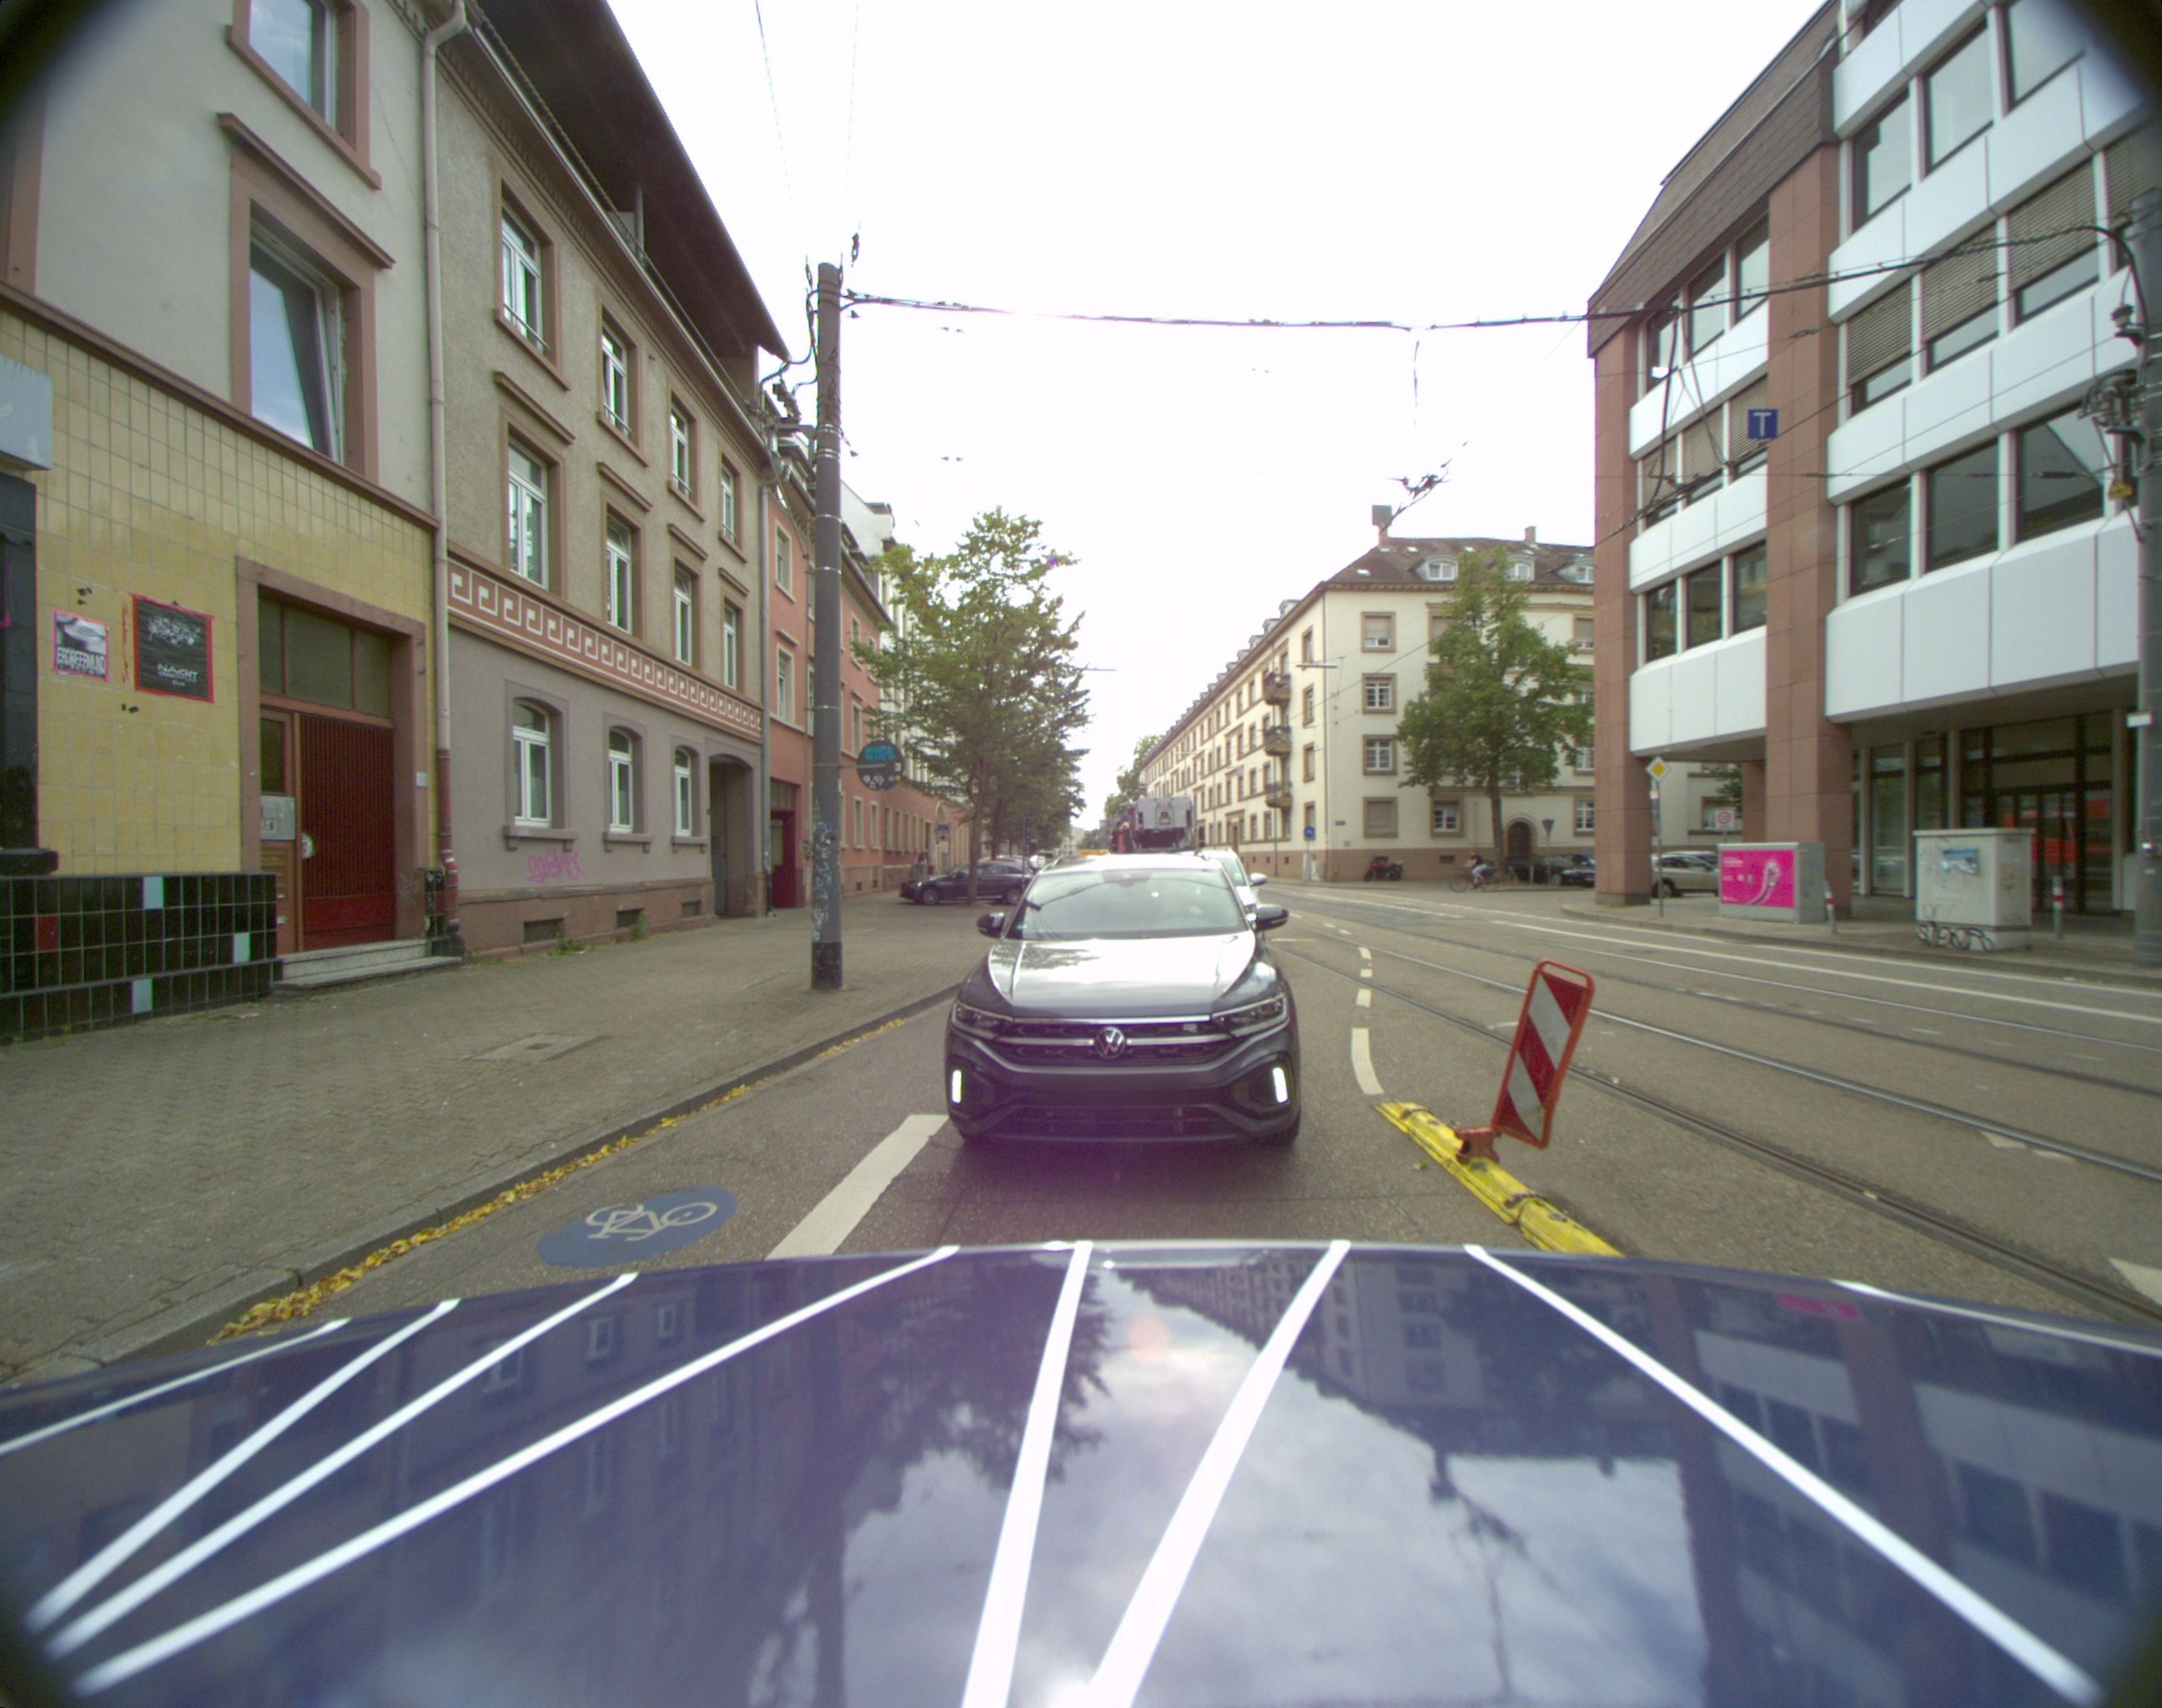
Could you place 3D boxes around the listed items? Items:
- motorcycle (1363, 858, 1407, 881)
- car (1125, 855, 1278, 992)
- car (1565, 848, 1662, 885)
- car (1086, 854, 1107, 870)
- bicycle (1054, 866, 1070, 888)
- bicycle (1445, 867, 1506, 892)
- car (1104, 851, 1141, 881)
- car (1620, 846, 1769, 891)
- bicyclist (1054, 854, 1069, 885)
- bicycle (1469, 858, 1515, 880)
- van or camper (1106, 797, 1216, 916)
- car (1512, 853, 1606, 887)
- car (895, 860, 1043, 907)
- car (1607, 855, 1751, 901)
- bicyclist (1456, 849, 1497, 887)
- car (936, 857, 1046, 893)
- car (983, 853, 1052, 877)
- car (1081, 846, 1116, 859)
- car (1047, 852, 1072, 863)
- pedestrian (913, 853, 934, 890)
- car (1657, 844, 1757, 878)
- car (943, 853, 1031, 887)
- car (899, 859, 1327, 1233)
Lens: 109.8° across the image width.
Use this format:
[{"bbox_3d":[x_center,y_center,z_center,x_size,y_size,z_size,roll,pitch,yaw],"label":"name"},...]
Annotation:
[{"bbox_3d":[15.307,0.773,38.278,1.924,1.080,0.793,-1,0,-1],"label":"motorcycle"},{"bbox_3d":[1.624,0.852,11.338,1.773,1.582,4.283,-2,0,5],"label":"car"},{"bbox_3d":[23.572,0.528,33.802,1.611,1.538,3.715,-1,0,-3],"label":"car"},{"bbox_3d":[1.509,0.762,74.533,1.911,1.478,4.000,-1,0,1],"label":"car"},{"bbox_3d":[-0.942,1.147,37.694,0.714,1.012,1.800,-2,0,-1],"label":"bicycle"},{"bbox_3d":[15.575,0.990,30.042,2.010,0.959,0.673,-1,-1,6],"label":"bicycle"},{"bbox_3d":[2.398,0.680,44.988,1.998,1.698,4.053,-1,0,1],"label":"car"},{"bbox_3d":[23.189,0.540,28.866,4.043,1.528,1.776,-2,0,9],"label":"car"},{"bbox_3d":[-0.958,0.783,37.671,0.715,1.498,0.918,-2,0,-1],"label":"bicyclist"},{"bbox_3d":[20.813,0.739,38.495,1.924,1.080,0.793,-1,0,-1],"label":"bicycle"},{"bbox_3d":[2.487,0.081,26.801,2.607,3.401,9.651,-1,0,-1],"label":"van or camper"},{"bbox_3d":[21.172,0.662,33.838,1.611,1.388,3.874,-1,0,-3],"label":"car"},{"bbox_3d":[-3.777,0.965,25.713,4.635,1.464,1.786,1,0,-24],"label":"car"},{"bbox_3d":[19.194,0.727,24.463,3.650,1.380,1.611,-1,0,-9],"label":"car"},{"bbox_3d":[15.630,0.560,30.038,1.258,1.453,0.678,-1,0,6],"label":"bicyclist"},{"bbox_3d":[-3.889,0.902,32.787,4.351,1.471,1.786,1,0,-24],"label":"car"},{"bbox_3d":[-4.592,0.809,55.341,4.635,1.688,1.913,1,0,-24],"label":"car"},{"bbox_3d":[3.148,-0.241,134.610,5.911,2.142,2.554,-1,0,41],"label":"car"},{"bbox_3d":[-3.844,0.611,136.505,4.007,1.806,1.896,-1,0,-31],"label":"car"},{"bbox_3d":[-7.390,0.799,35.602,0.732,1.678,0.926,3,0,-1],"label":"pedestrian"},{"bbox_3d":[28.498,0.304,34.747,1.592,1.453,3.524,-1,0,-3],"label":"car"},{"bbox_3d":[-4.933,0.844,39.923,4.245,1.688,1.736,1,0,-24],"label":"car"},{"bbox_3d":[0.290,0.852,5.385,1.773,1.538,4.283,-2,0,5],"label":"car"}]
